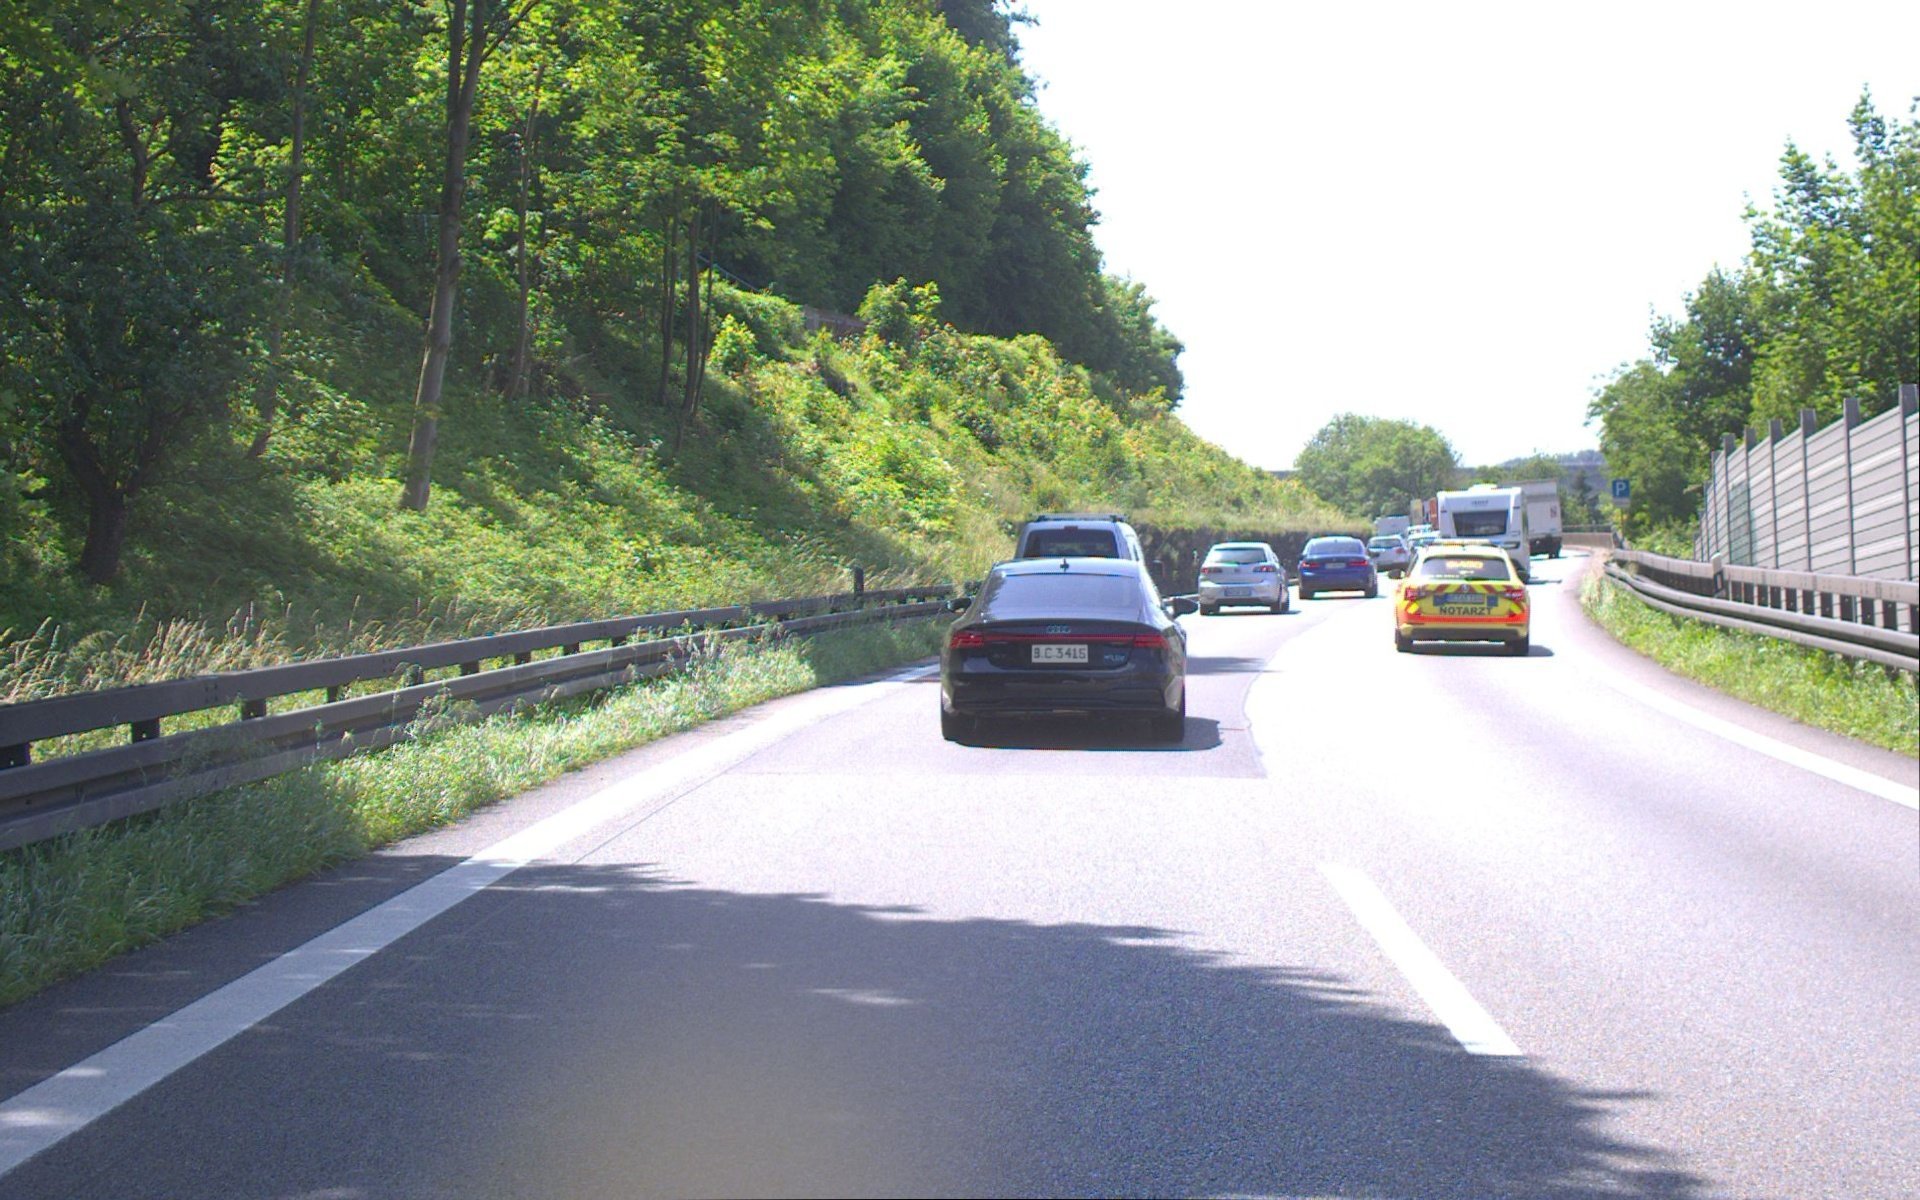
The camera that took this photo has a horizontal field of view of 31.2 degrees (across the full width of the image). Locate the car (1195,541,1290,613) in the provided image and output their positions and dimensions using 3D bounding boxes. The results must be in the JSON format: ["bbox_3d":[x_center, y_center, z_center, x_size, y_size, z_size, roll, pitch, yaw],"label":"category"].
[{"bbox_3d":[5.753,-0.456,69.626,1.747,1.426,3.999,0,0,7],"label":"car"}]

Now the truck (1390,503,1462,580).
[{"bbox_3d":[19.361,-2.423,142.680,2.842,3.120,7.477,0,1,8],"label":"truck"}]

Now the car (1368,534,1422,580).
[{"bbox_3d":[16.414,-1.601,129.658,1.842,1.711,3.998,0,0,10],"label":"car"}]

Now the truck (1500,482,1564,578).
[{"bbox_3d":[25.265,-3.077,151.672,2.734,4.082,7.477,0,1,10],"label":"truck"}]

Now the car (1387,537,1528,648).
[{"bbox_3d":[6.894,-0.101,47.837,1.863,1.483,3.999,0,0,8],"label":"car"}]

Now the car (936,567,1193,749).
[{"bbox_3d":[0.912,0.428,27.548,1.838,1.345,3.999,0,0,5],"label":"car"}]

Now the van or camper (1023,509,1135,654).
[{"bbox_3d":[1.583,-0.238,44.877,1.392,1.809,4.000,0,0,3],"label":"van or camper"}]

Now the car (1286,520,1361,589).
[{"bbox_3d":[8.850,-1.101,83.937,1.773,1.631,3.999,0,0,5],"label":"car"}]

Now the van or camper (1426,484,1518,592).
[{"bbox_3d":[14.243,-1.673,95.647,2.456,2.908,6.124,0,0,9],"label":"van or camper"}]
